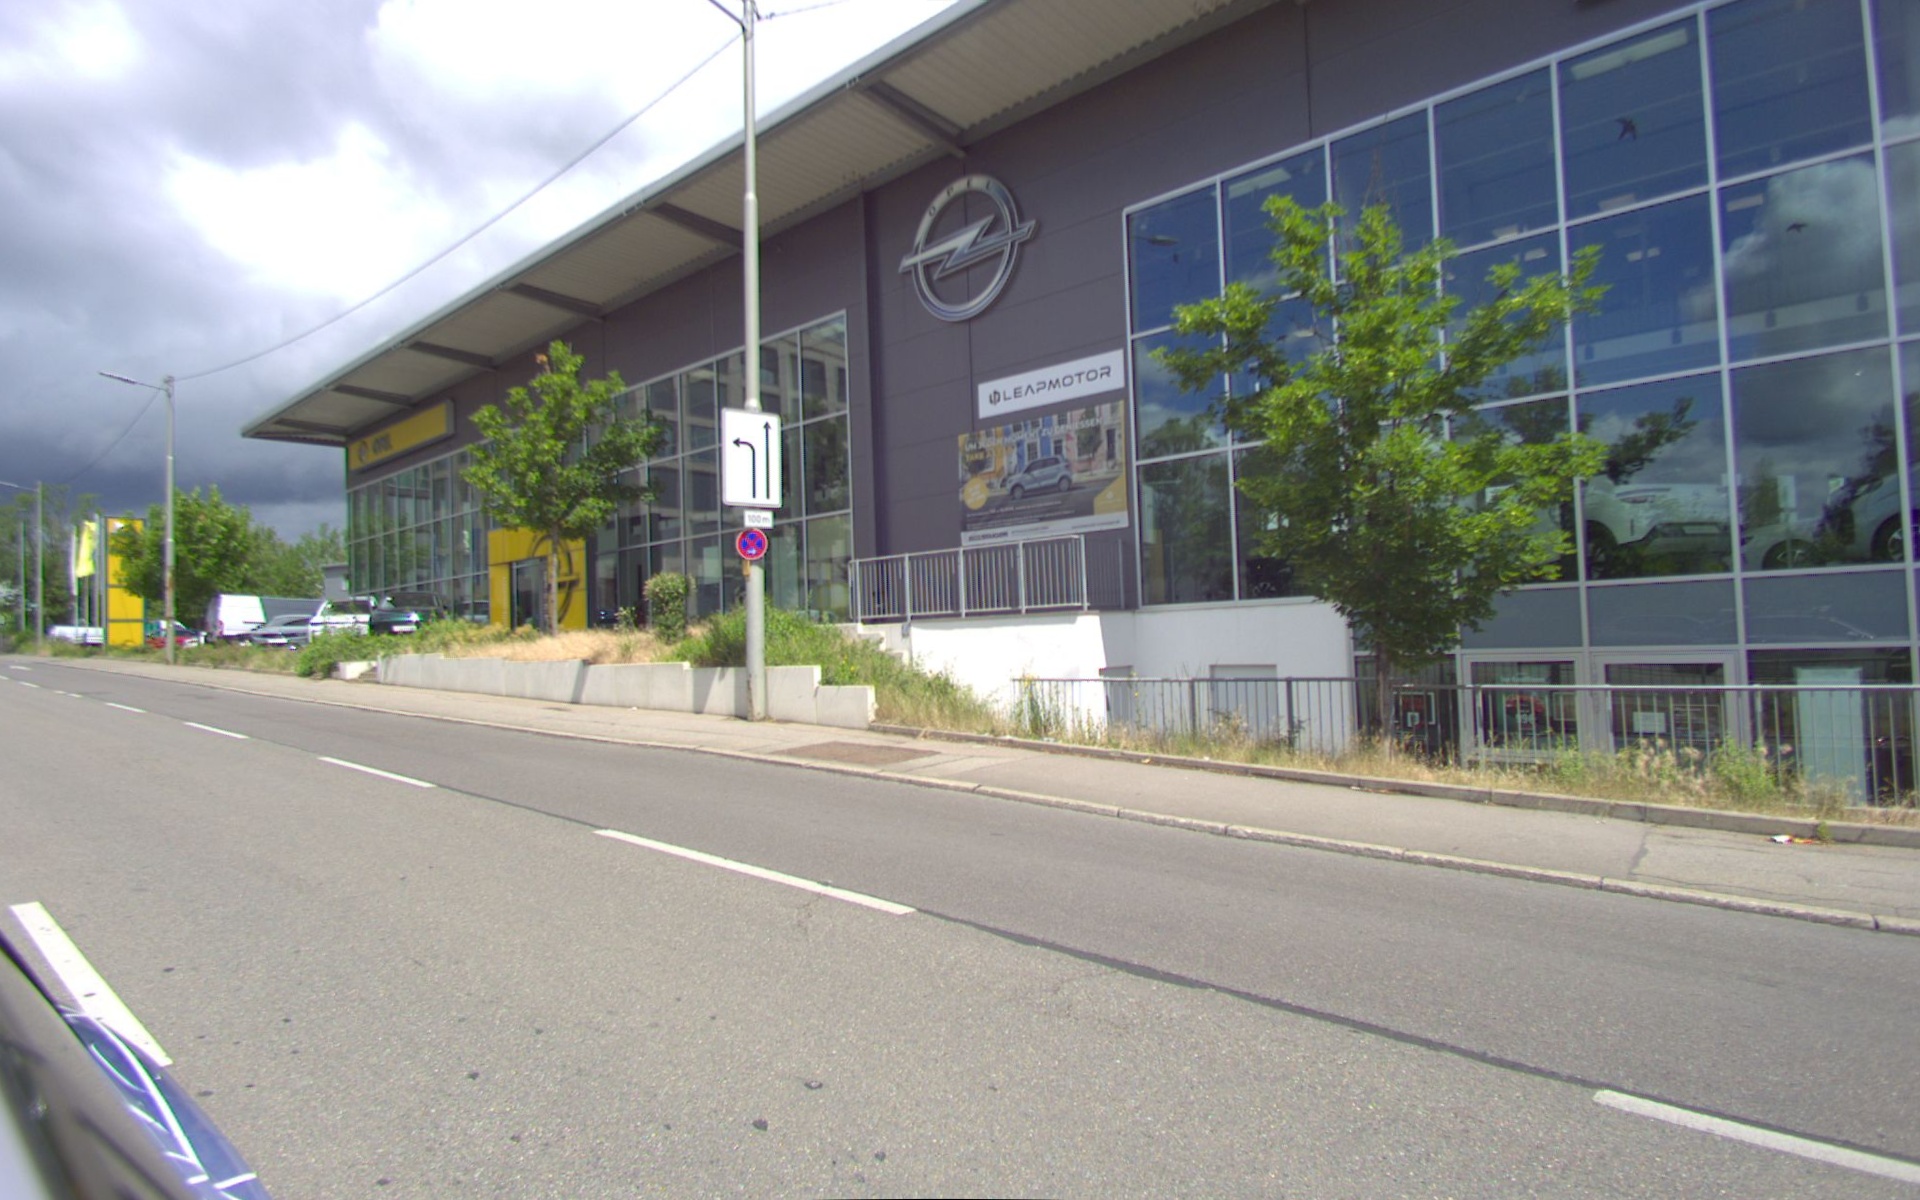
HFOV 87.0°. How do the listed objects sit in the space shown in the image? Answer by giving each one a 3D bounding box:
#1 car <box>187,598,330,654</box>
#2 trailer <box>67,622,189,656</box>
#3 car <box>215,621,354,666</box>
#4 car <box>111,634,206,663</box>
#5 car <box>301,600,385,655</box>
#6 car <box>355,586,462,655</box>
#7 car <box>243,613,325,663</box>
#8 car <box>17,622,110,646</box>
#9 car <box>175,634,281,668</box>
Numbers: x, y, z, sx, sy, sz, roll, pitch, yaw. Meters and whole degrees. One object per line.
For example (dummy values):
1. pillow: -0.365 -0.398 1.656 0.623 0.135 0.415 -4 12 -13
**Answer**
1. car: -29.159 1.062 42.163 2.176 2.211 4.476 -1 -1 38
2. trailer: -45.348 2.101 55.243 2.092 1.765 4.776 -2 -2 37
3. car: -25.734 1.639 38.674 1.792 1.625 4.064 -2 -2 32
4. car: -42.021 2.525 53.099 1.814 1.420 3.621 -2 -2 42
5. car: -19.257 0.847 31.739 1.767 1.625 4.122 0 -1 -25
6. car: -15.476 0.603 28.614 1.791 1.625 4.121 -6 0 -18
7. car: -23.470 1.304 35.270 1.767 1.625 4.122 1 -2 -26
8. car: -57.571 2.188 65.062 2.093 1.493 4.200 -2 -2 38
9. car: -35.528 2.445 49.163 1.559 1.539 3.897 -2 -2 38
